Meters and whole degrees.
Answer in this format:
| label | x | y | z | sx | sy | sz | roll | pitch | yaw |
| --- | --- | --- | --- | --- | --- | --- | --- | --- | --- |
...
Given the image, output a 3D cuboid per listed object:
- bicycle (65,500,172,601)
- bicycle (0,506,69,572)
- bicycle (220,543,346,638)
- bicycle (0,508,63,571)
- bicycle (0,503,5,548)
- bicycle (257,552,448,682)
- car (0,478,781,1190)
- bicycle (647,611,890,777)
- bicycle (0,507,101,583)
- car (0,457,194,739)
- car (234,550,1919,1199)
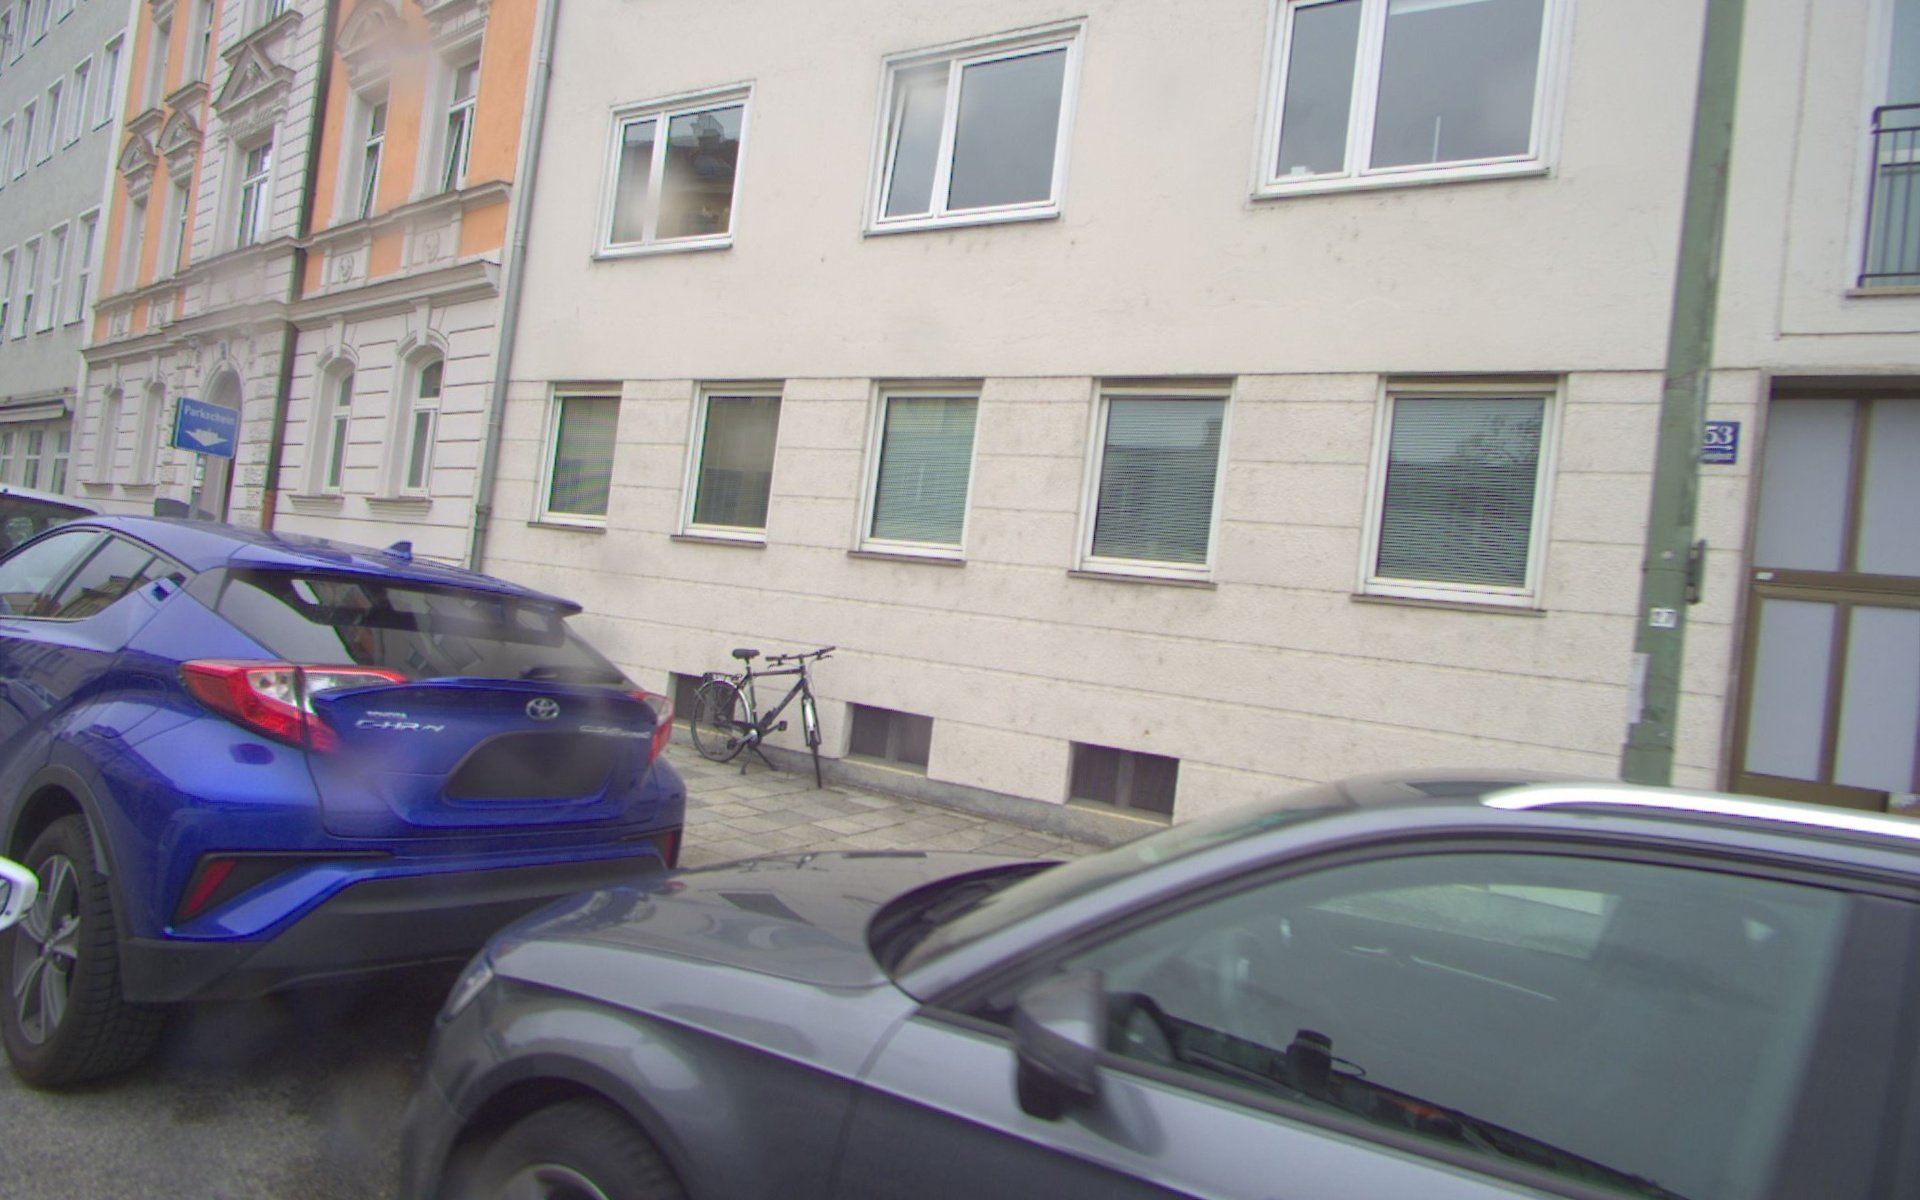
| label | x | y | z | sx | sy | sz | roll | pitch | yaw |
| --- | --- | --- | --- | --- | --- | --- | --- | --- | --- |
| bicycle | -13.495 | -0.810 | 16.117 | 2.057 | 1.402 | 0.596 | 7 | 1 | 32 |
| bicycle | -16.997 | -1.094 | 18.199 | 0.613 | 1.103 | 1.806 | 6 | 0 | -20 |
| bicycle | -8.827 | -0.135 | 13.100 | 1.787 | 1.037 | 0.596 | 7 | 1 | 32 |
| bicycle | -17.514 | -1.135 | 18.482 | 0.507 | 1.080 | 1.845 | 7 | 0 | -7 |
| bicycle | -22.716 | -1.707 | 23.296 | 1.918 | 1.172 | 0.384 | 7 | 0 | 34 |
| bicycle | -6.495 | 0.175 | 10.736 | 1.960 | 1.126 | 0.724 | 7 | 0 | 27 |
| car | -3.042 | 0.406 | 4.175 | 4.476 | 1.512 | 1.744 | 6 | -1 | 35 |
| bicycle | -1.639 | 0.760 | 8.500 | 1.964 | 1.085 | 0.530 | 7 | 0 | 25 |
| bicycle | -15.332 | -0.900 | 16.664 | 0.574 | 1.153 | 2.088 | 7 | 0 | -9 |
| car | -7.388 | -0.184 | 6.983 | 3.737 | 1.692 | 1.687 | 7 | -2 | 27 |
| car | 0.944 | 0.962 | 1.716 | 4.325 | 1.470 | 1.712 | 7 | -4 | 28 |
